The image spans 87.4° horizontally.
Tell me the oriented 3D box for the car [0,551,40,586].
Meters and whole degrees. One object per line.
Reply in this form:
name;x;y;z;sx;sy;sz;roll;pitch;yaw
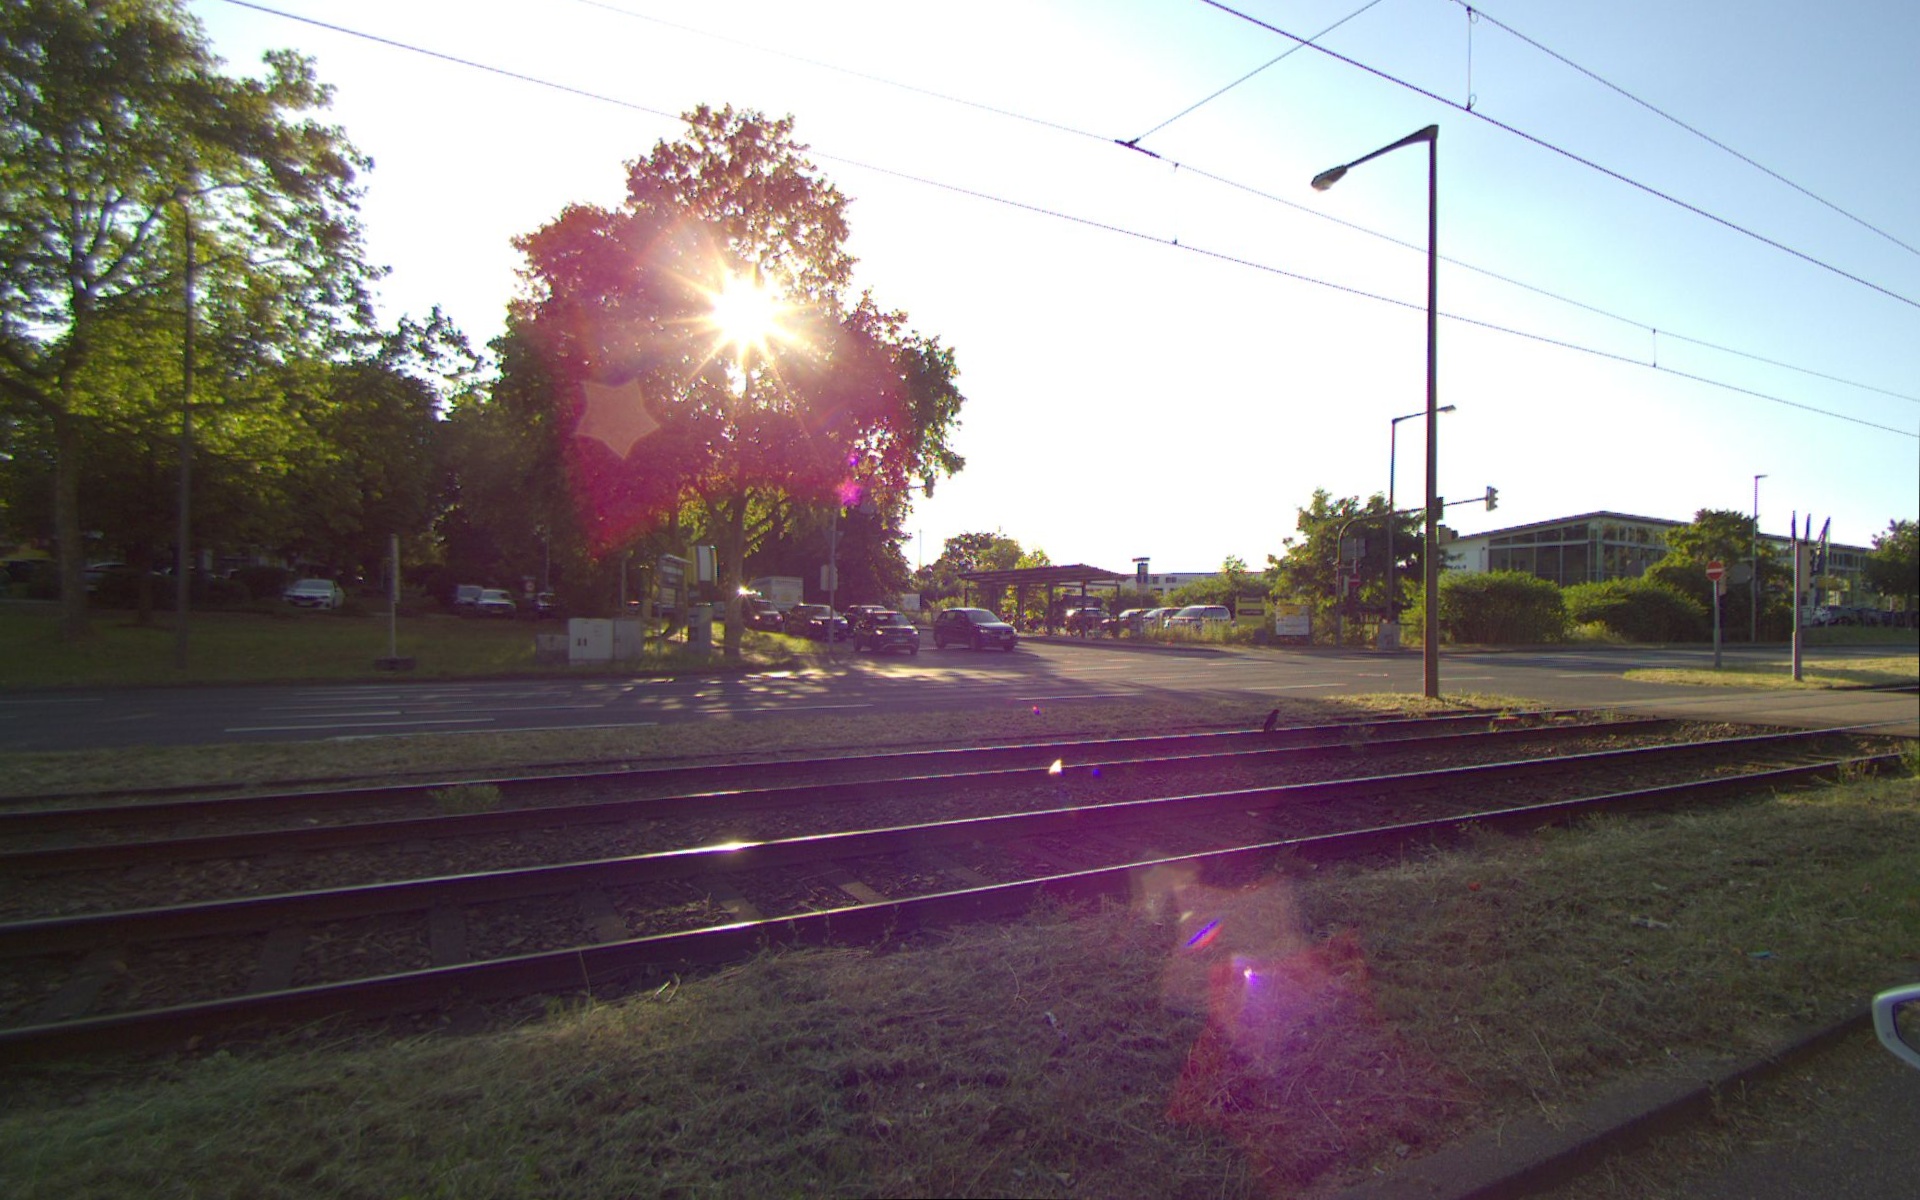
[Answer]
car;-53.707;-1.811;56.472;2.274;1.875;5.220;2;1;-36

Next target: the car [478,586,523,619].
car;-22.777;0.101;49.681;1.916;1.530;4.071;2;0;-26

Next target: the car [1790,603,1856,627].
car;69.487;1.180;80.919;3.940;1.840;1.735;1;0;40

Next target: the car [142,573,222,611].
car;-33.800;-0.361;43.776;1.916;1.530;4.071;2;0;-26

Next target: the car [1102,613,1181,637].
car;10.100;1.369;55.961;4.123;1.284;1.853;1;0;-30

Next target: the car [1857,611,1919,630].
car;81.929;1.777;88.602;1.728;1.577;3.957;1;0;-37

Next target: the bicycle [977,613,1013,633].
bicycle;2.089;1.353;59.143;2.004;1.119;0.777;2;0;-30

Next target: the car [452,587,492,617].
car;-28.415;0.120;58.587;1.836;1.637;4.036;2;0;-23

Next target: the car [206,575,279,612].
car;-31.957;-0.295;44.849;1.916;1.530;4.071;2;0;-26

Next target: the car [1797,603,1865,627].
car;68.525;1.168;79.074;3.940;1.840;1.735;1;0;40

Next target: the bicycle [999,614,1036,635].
bicycle;3.230;1.376;56.506;2.004;1.119;0.777;2;0;-30

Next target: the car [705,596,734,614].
car;-22.723;0.446;94.880;1.711;1.603;4.028;0;0;-27

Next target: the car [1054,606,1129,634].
car;7.877;1.173;60.087;4.123;1.604;1.968;1;0;-30

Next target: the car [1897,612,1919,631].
car;88.546;1.985;91.834;1.725;1.642;3.962;1;0;-34

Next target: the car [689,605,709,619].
car;-32.693;1.479;125.766;1.887;1.602;4.036;2;0;-21

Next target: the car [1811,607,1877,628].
car;72.151;1.409;82.035;3.940;1.577;1.735;1;0;40

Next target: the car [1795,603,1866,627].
car;65.341;1.135;75.462;3.940;1.727;1.735;1;0;40

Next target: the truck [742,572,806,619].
truck;-14.865;-0.337;79.894;2.782;3.520;8.291;0;0;-27

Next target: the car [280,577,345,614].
car;-29.276;-0.203;45.531;1.916;1.530;4.071;2;0;-26

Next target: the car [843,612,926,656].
car;-2.899;1.267;37.799;1.735;1.578;3.945;1;-2;-27

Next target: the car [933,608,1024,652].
car;0.668;1.156;40.315;1.854;1.656;4.339;1;0;-27

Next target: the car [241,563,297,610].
car;-37.142;-0.725;54.099;2.138;2.334;4.369;2;0;-31

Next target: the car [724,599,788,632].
car;-10.800;0.786;52.984;1.824;1.656;4.270;1;0;-34

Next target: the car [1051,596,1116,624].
car;9.447;0.787;76.757;4.714;2.041;1.853;1;0;-30

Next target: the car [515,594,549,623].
car;-25.944;0.491;60.893;1.836;1.637;4.036;2;0;-23

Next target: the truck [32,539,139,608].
truck;-44.359;-1.289;51.156;2.468;3.209;6.187;2;0;-26

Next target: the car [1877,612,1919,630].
car;85.076;1.888;90.094;1.726;1.577;3.960;1;0;-35

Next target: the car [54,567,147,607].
car;-35.932;-0.514;42.113;1.916;1.530;4.071;2;0;-26

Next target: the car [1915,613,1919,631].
car;91.462;2.091;93.113;1.725;1.642;3.962;1;0;-34

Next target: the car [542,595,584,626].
car;-20.281;0.503;51.231;1.604;1.477;3.878;2;0;-27

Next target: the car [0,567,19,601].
car;-44.355;-0.781;44.400;3.678;1.482;1.663;3;-1;-28

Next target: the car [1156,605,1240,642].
car;12.523;1.207;52.829;4.123;1.846;1.853;1;0;-30

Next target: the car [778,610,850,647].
car;-6.692;1.256;45.765;1.717;1.565;4.298;0;0;-31

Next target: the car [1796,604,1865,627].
car;66.887;1.177;77.262;3.940;1.727;1.735;1;0;40

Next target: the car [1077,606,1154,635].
car;8.981;1.166;57.892;4.123;1.604;1.853;1;0;-30

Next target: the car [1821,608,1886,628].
car;74.371;1.496;83.703;3.940;1.577;1.735;1;0;40
